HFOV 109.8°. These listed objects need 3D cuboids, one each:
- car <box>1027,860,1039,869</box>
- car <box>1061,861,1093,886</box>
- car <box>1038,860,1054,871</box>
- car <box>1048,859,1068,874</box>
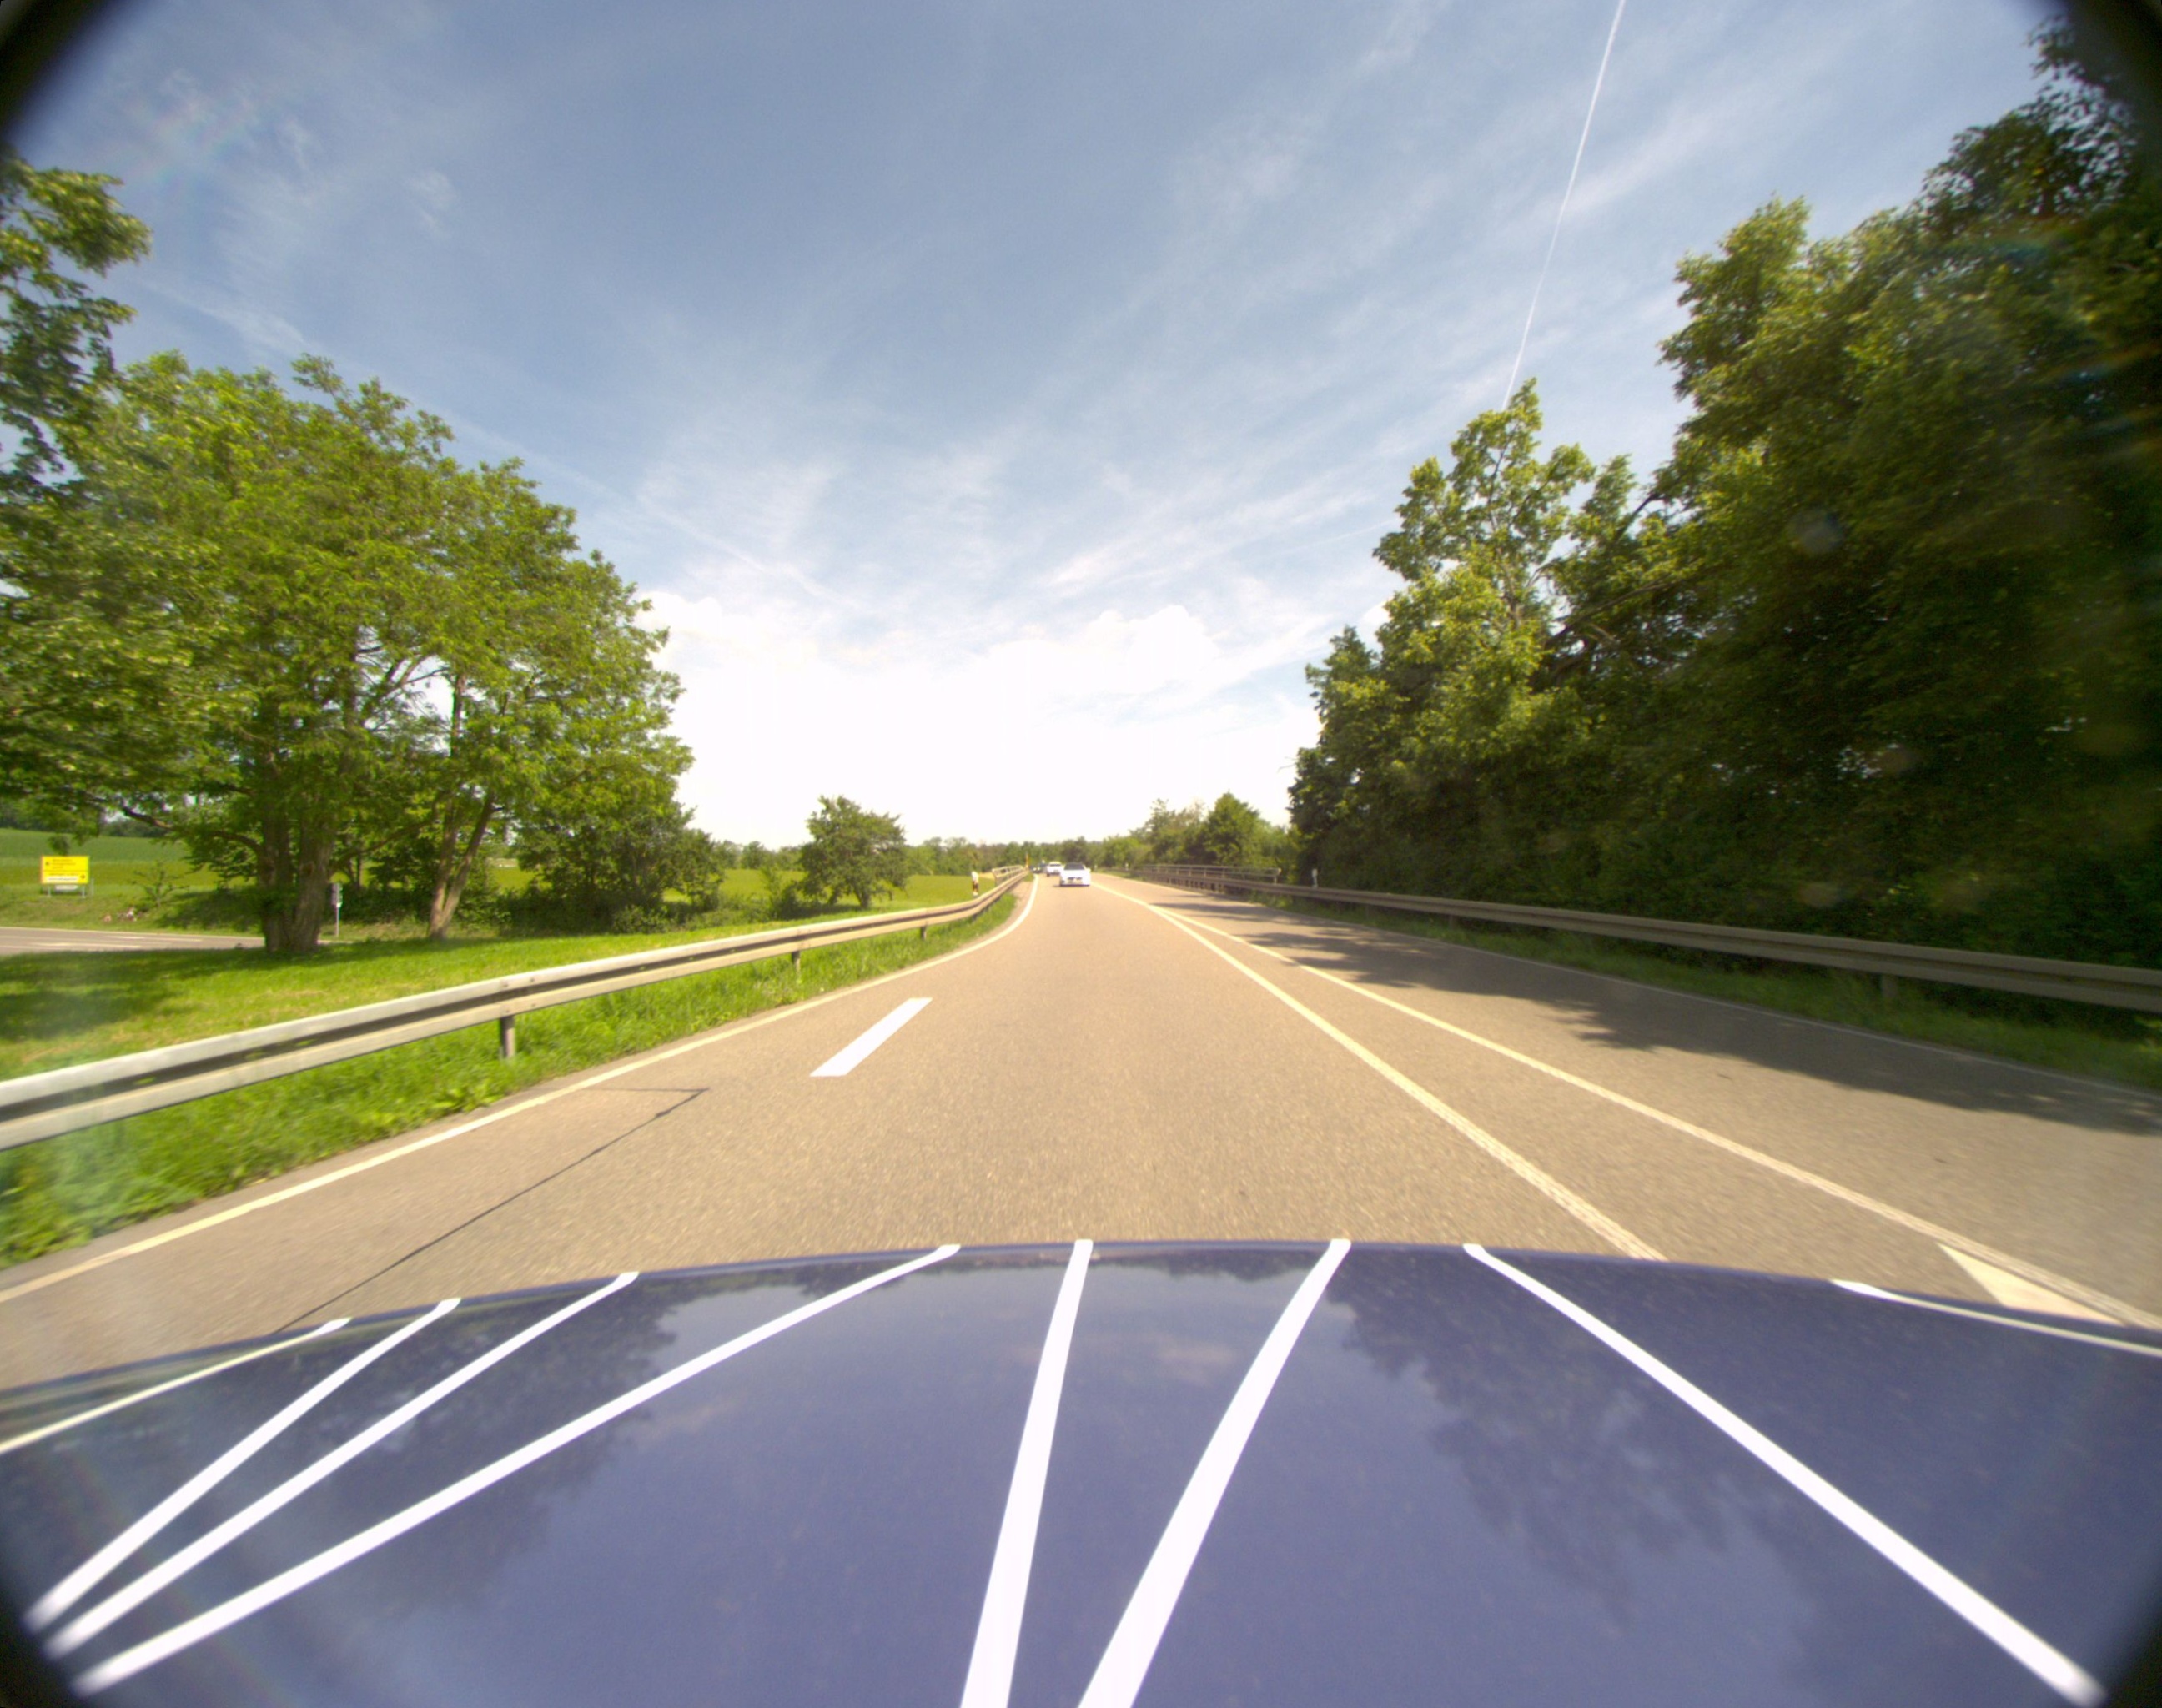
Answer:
[{"bbox_3d":[-7.877,1.733,124.306,1.930,1.441,3.999,0,0,-3],"label":"car"},{"bbox_3d":[-0.268,1.205,47.926,1.929,1.441,4.534,0,0,-1],"label":"car"},{"bbox_3d":[-4.840,1.518,104.477,1.930,1.441,4.074,0,0,-6],"label":"car"},{"bbox_3d":[-2.466,1.325,81.551,1.930,1.441,3.998,0,0,-4],"label":"car"}]
